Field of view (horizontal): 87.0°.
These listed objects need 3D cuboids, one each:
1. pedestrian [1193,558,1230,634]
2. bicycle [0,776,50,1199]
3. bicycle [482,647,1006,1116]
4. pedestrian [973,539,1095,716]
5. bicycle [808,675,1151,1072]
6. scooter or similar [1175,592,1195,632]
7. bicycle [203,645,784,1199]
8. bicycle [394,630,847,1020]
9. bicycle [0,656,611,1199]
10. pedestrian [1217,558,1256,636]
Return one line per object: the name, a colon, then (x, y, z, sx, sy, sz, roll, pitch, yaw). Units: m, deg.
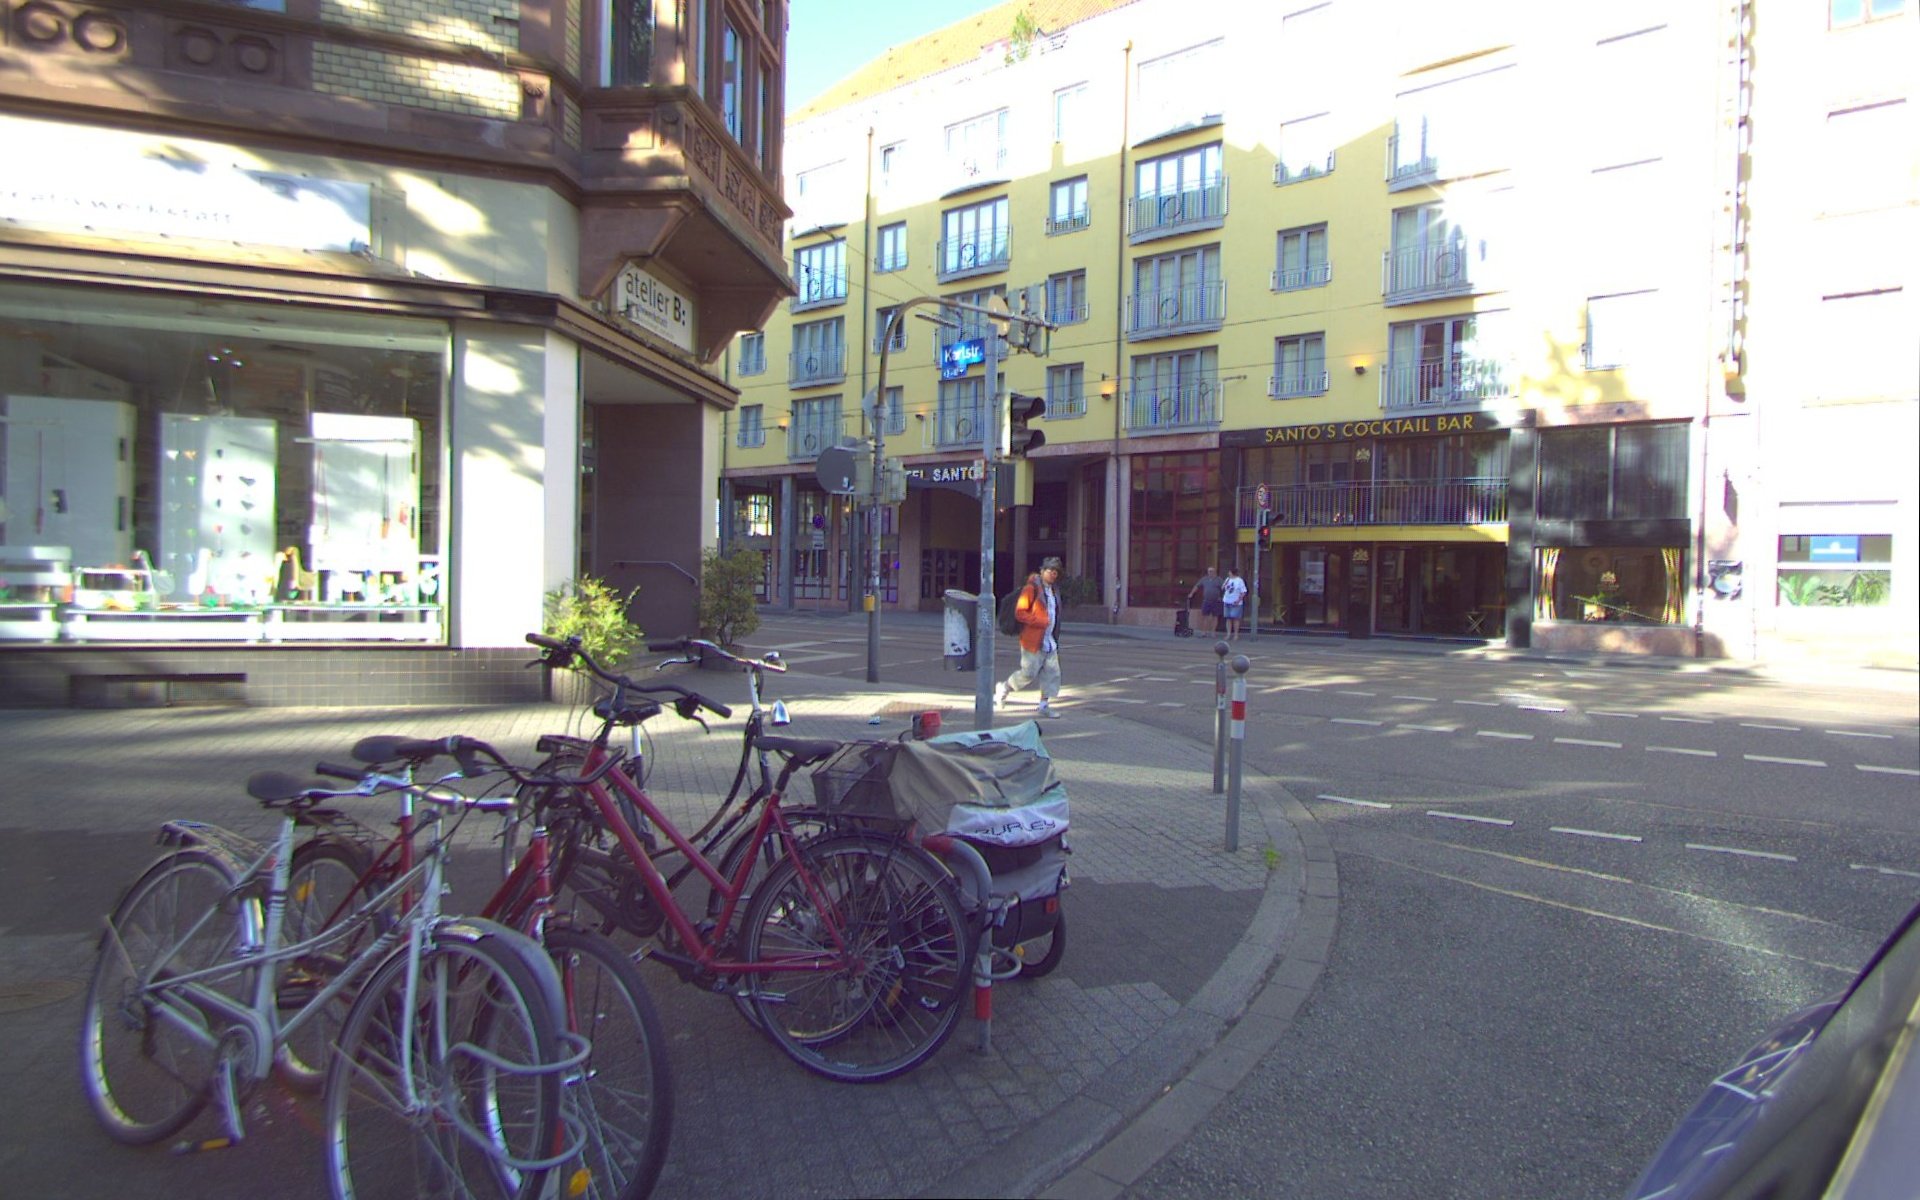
pedestrian: (6.421, -0.122, 25.831, 0.675, 1.862, 0.718, 2, 5, 37)
bicycle: (-2.268, 0.792, 1.910, 1.925, 1.106, 0.420, 5, 5, 36)
bicycle: (-0.630, 0.751, 2.979, 1.455, 1.106, 0.424, 3, 4, 12)
pedestrian: (0.787, 0.251, 10.415, 1.154, 1.701, 1.005, 1, 1, 8)
bicycle: (0.043, 0.847, 3.577, 0.725, 1.039, 0.998, 0, 1, -40)
scooter or similar: (5.775, 0.309, 25.977, 0.355, 0.989, 0.418, 2, 4, 35)
bicycle: (-1.320, 0.771, 2.643, 1.923, 1.106, 0.420, 4, 5, 33)
bicycle: (-1.197, 0.726, 3.626, 1.456, 1.106, 0.572, 3, 4, 14)
bicycle: (-1.574, 0.787, 2.262, 1.923, 1.106, 0.420, 4, 5, 33)
pedestrian: (6.864, -0.093, 25.106, 0.731, 1.862, 0.718, 2, 5, 37)
